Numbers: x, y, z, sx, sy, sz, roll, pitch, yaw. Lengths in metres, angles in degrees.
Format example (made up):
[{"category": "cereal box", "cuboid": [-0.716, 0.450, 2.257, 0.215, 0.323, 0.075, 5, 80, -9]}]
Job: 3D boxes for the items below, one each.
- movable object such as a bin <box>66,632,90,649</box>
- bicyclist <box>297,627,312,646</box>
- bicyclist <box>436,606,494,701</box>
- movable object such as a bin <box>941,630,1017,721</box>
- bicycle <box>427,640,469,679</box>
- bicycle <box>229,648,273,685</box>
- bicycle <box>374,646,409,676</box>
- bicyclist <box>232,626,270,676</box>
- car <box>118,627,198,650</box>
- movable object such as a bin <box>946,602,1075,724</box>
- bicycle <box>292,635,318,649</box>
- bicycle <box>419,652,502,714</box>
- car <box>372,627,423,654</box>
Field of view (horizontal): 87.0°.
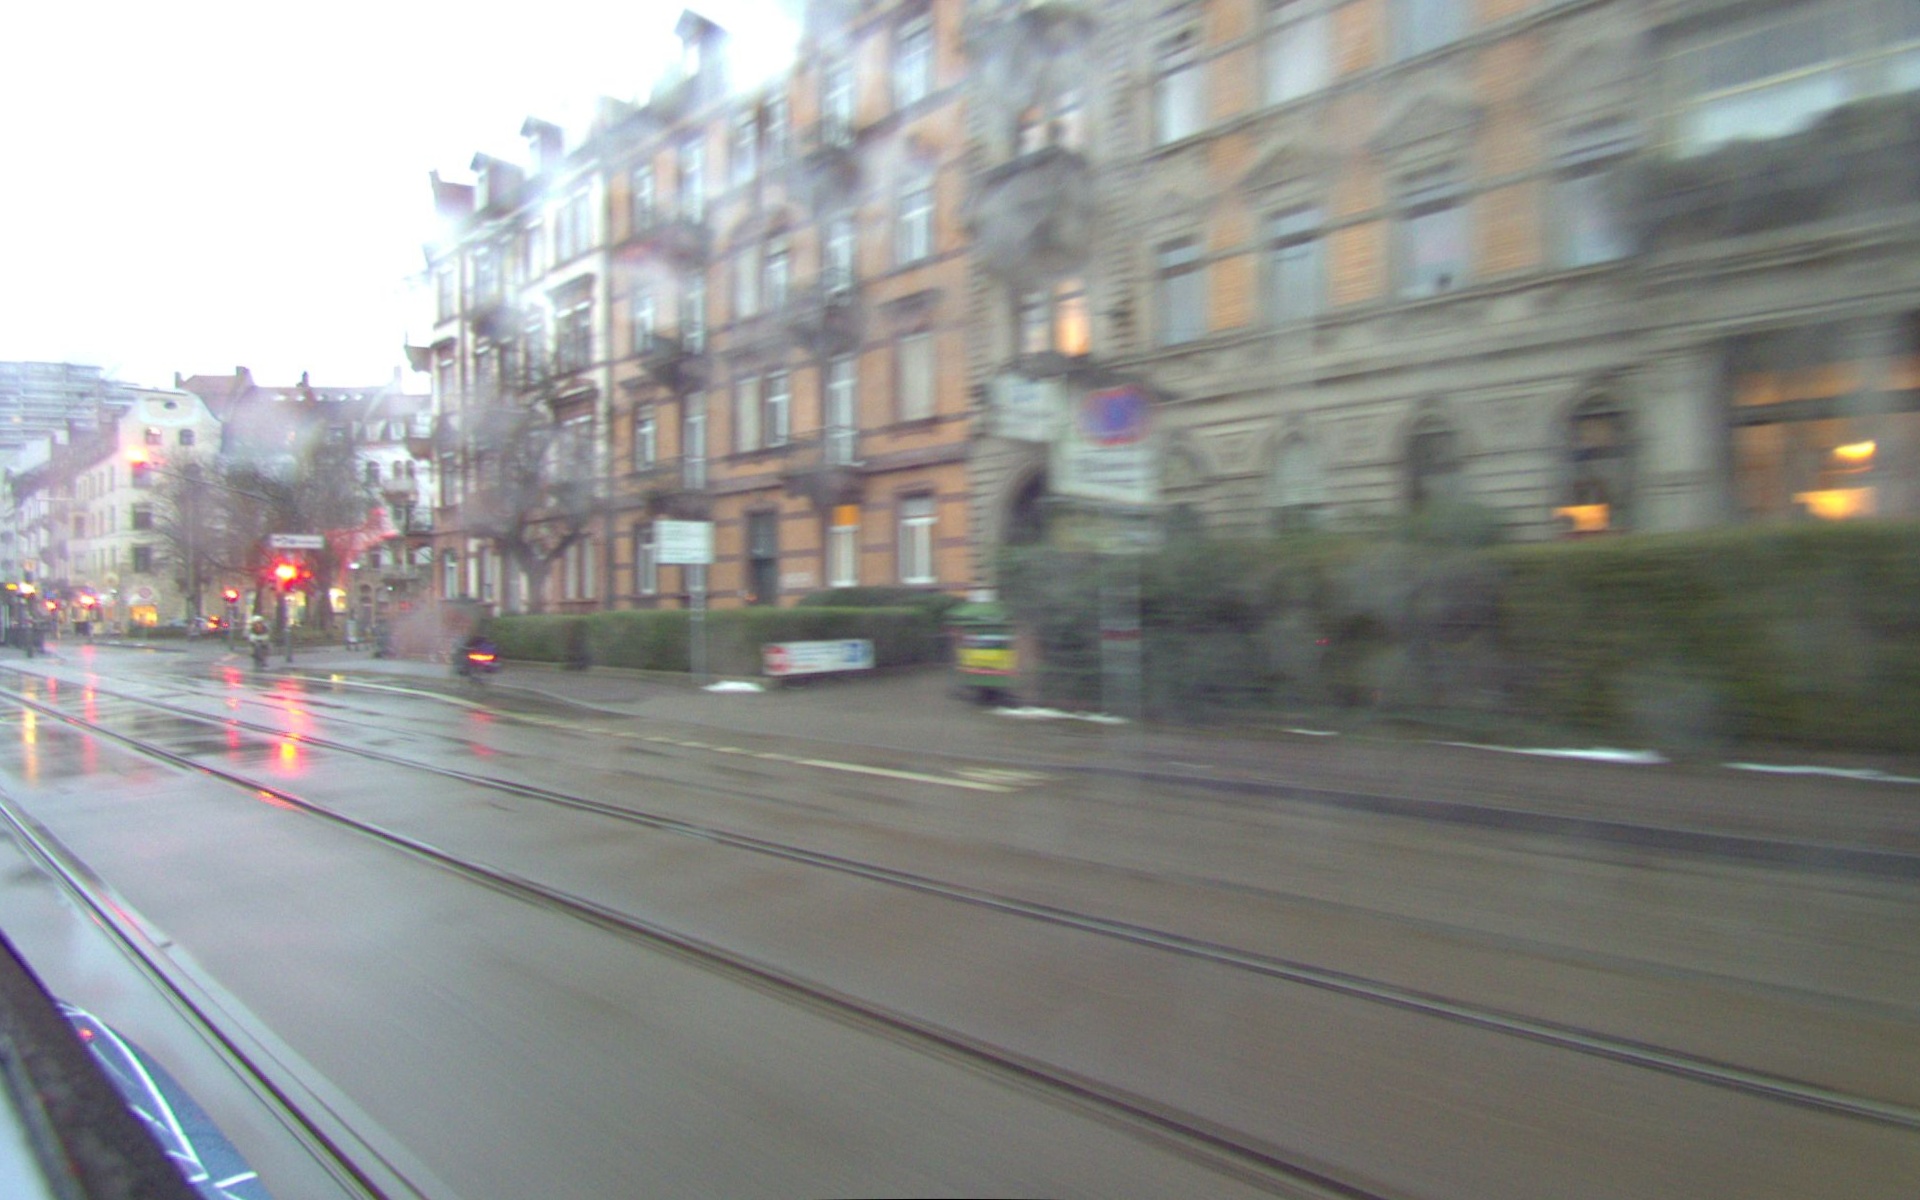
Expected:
[{"category": "movable object such as a bin", "cuboid": [-76.306, 3.493, 87.591, 1.280, 1.382, 1.335, -2, 1, 40]}, {"category": "bicyclist", "cuboid": [-47.092, 2.609, 72.725, 0.759, 1.374, 0.528, -1, 0, 16]}, {"category": "bicyclist", "cuboid": [-8.764, 0.931, 17.916, 0.765, 1.628, 0.676, -1, -2, 42]}, {"category": "movable object such as a bin", "cuboid": [0.289, 1.106, 15.229, 0.745, 1.302, 0.886, -2, -1, 39]}, {"category": "bicycle", "cuboid": [-14.270, 1.648, 28.170, 1.849, 1.014, 0.411, -1, -1, 43]}, {"category": "bicycle", "cuboid": [-20.664, 1.919, 29.474, 1.802, 1.014, 0.674, -1, -1, 42]}, {"category": "bicycle", "cuboid": [-17.724, 1.882, 31.550, 1.849, 0.869, 0.395, -1, -1, 43]}, {"category": "bicyclist", "cuboid": [-20.590, 1.466, 29.392, 0.944, 1.374, 0.697, -1, 0, 43]}, {"category": "car", "cuboid": [-57.438, 2.754, 72.595, 4.270, 1.595, 1.943, 1, -2, -32]}, {"category": "movable object such as a bin", "cuboid": [0.710, 0.841, 14.192, 1.229, 1.598, 1.308, 0, -1, -44]}, {"category": "bicycle", "cuboid": [-47.071, 2.999, 72.738, 1.795, 1.014, 0.489, -1, -2, 17]}, {"category": "bicycle", "cuboid": [-8.923, 1.454, 18.050, 1.933, 0.979, 0.671, -1, -1, 42]}, {"category": "car", "cuboid": [-38.154, 2.721, 68.613, 3.862, 1.785, 1.853, -2, -3, 43]}]
